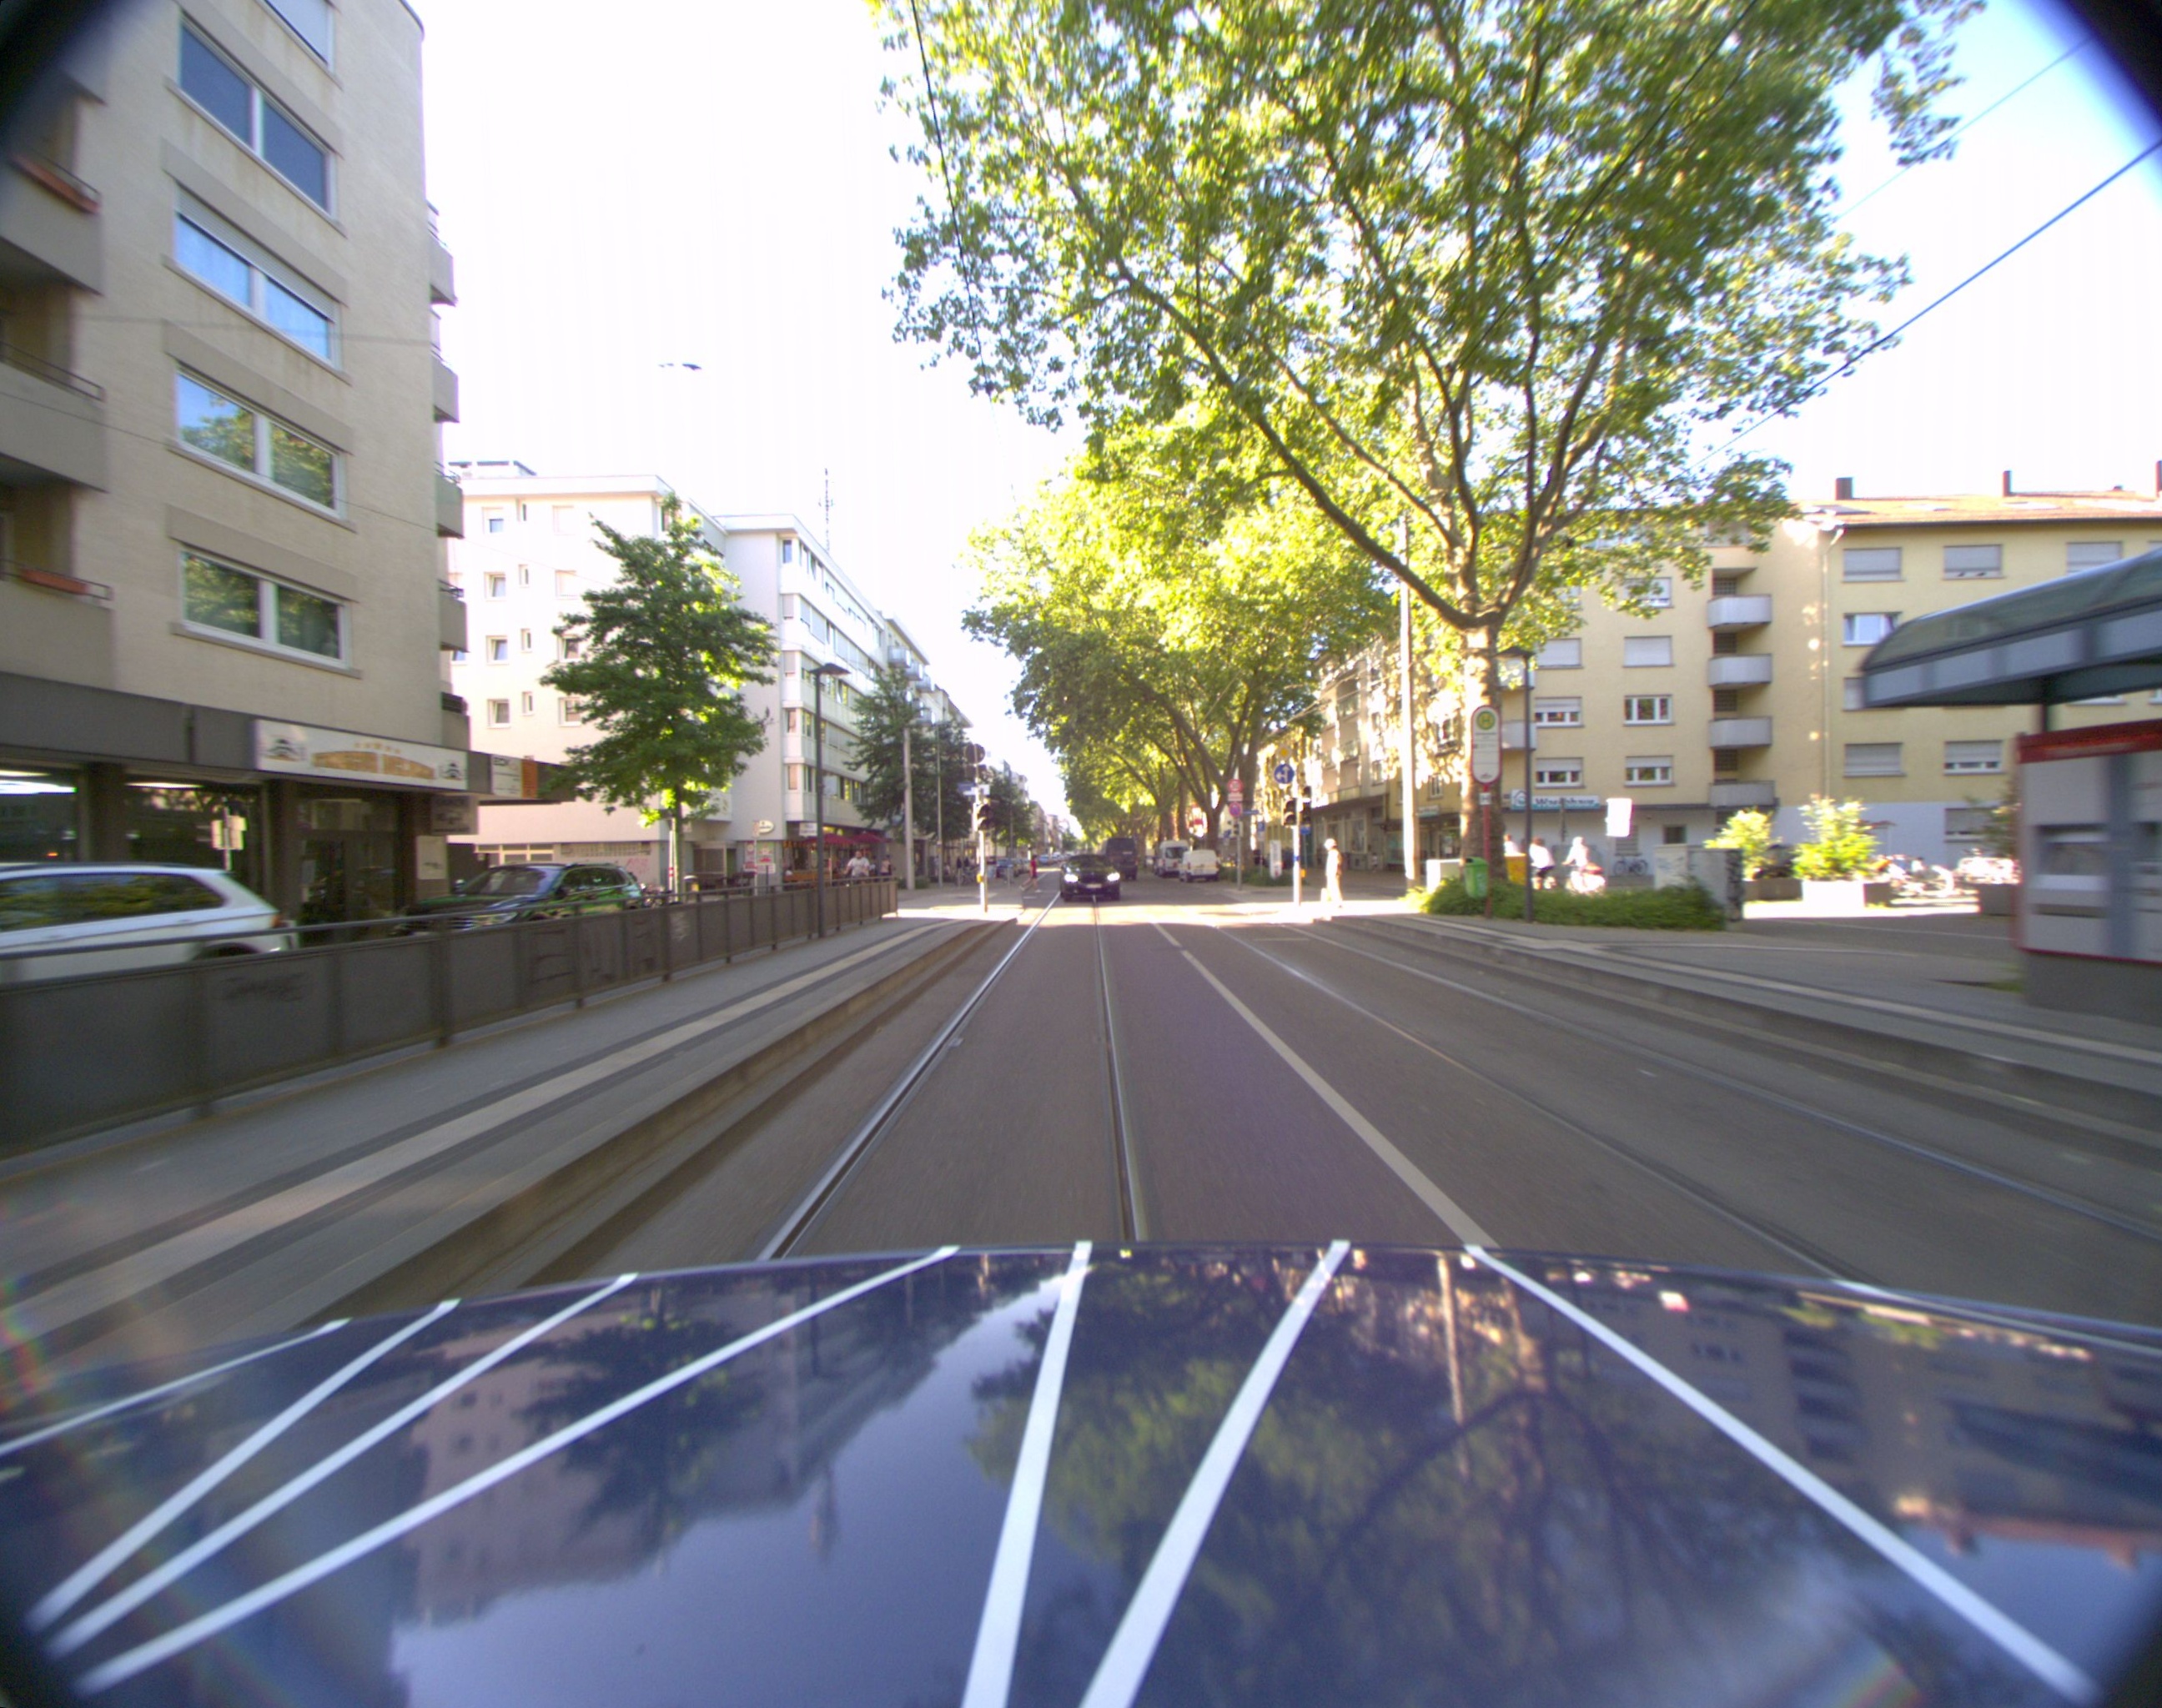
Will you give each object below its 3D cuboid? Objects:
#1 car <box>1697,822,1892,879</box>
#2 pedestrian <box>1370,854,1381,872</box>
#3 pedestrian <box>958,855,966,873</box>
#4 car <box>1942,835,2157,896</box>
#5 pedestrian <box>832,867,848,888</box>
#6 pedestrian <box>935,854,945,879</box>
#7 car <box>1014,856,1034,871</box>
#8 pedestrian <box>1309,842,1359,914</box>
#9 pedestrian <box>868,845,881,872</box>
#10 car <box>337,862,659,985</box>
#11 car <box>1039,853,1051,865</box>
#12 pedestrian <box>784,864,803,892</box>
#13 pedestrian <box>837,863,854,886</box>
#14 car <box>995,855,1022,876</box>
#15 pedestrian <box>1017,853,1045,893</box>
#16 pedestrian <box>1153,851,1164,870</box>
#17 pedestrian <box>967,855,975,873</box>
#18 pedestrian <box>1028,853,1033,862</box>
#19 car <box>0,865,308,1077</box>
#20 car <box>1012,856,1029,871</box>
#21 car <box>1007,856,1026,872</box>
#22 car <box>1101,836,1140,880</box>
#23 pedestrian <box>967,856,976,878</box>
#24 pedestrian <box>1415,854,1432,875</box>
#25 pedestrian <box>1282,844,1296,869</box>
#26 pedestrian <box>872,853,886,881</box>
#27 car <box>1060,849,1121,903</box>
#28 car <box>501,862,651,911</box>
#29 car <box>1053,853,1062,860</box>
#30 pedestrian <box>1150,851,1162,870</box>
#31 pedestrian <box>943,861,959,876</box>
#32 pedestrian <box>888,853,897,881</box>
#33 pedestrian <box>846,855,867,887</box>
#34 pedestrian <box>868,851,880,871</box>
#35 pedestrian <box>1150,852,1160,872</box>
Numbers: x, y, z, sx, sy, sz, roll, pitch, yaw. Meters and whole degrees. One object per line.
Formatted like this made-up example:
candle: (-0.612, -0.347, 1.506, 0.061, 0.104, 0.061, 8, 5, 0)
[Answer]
car: (21.449, -0.116, 22.968, 3.997, 1.499, 2.000, -2, 1, 0)
pedestrian: (18.082, 0.528, 46.614, 0.421, 1.099, 0.437, -2, 1, -9)
pedestrian: (-10.978, 0.925, 70.221, 0.597, 1.668, 0.934, 1, 1, -2)
car: (29.002, 0.319, 22.855, 3.997, 1.652, 1.960, -1, 1, 0)
pedestrian: (-12.407, 1.209, 39.092, 0.643, 1.072, 0.522, -2, 1, -1)
pedestrian: (-10.359, 0.893, 55.816, 0.592, 1.774, 0.994, -2, 1, -7)
car: (-6.018, 0.947, 81.126, 1.791, 1.528, 4.127, 1, 0, 0)
pedestrian: (6.659, 0.605, 20.010, 0.926, 1.825, 0.920, -2, 1, -3)
pedestrian: (-12.805, 0.275, 47.114, 0.508, 1.619, 0.517, -3, 1, -37)
car: (-9.554, 1.015, 13.074, 1.998, 1.606, 4.445, -2, 1, 1)
car: (-6.422, 0.921, 136.051, 1.958, 1.914, 4.000, -2, 1, 1)
pedestrian: (-13.714, 1.134, 36.267, 0.536, 1.280, 0.715, -2, 1, 2)
pedestrian: (-12.499, 1.092, 40.350, 0.660, 1.168, 0.522, -2, 1, -1)
car: (-5.852, 0.933, 61.904, 1.763, 1.578, 4.328, 2, 0, 0)
pedestrian: (-2.288, 0.853, 34.897, 1.048, 1.748, 0.877, -2, 1, -16)
pedestrian: (7.239, 0.608, 71.030, 0.768, 1.725, 0.718, -1, 1, 42)
pedestrian: (-10.165, 0.896, 70.259, 0.643, 1.628, 0.869, 1, 0, -1)
pedestrian: (-9.643, 0.746, 145.380, 0.697, 1.685, 0.678, -2, 1, 0)
car: (-9.387, 0.977, 6.067, 1.804, 1.596, 4.414, -2, 1, 1)
car: (-6.127, 0.953, 77.133, 1.448, 1.528, 2.881, 1, 0, 0)
car: (-6.220, 0.986, 73.297, 1.627, 1.473, 3.888, 1, 0, -2)
car: (2.546, 0.201, 50.384, 2.119, 2.722, 6.113, 0, 1, -1)
pedestrian: (-9.340, 1.099, 64.912, 0.663, 1.841, 0.539, -2, 1, -1)
pedestrian: (17.785, 0.556, 39.461, 0.580, 1.041, 0.711, -2, 1, -1)
pedestrian: (15.502, 0.179, 56.704, 0.746, 1.859, 0.863, -2, 1, -2)
pedestrian: (-13.128, 0.854, 49.364, 0.525, 1.795, 0.633, -1, 2, 44)
car: (0.350, 0.736, 27.870, 1.998, 1.723, 4.399, 2, 1, 1)
car: (-18.980, 1.207, 28.706, 4.259, 1.583, 1.966, -2, 2, 0)
car: (-5.363, 0.588, 176.703, 1.867, 1.499, 4.000, -2, 1, 1)
pedestrian: (6.993, 0.622, 70.510, 0.768, 1.725, 0.715, -1, 1, 42)
pedestrian: (-8.869, 0.982, 51.739, 1.001, 1.021, 0.661, -2, 1, -6)
pedestrian: (-12.517, 0.868, 50.538, 0.432, 1.786, 0.489, -2, 1, -1)
pedestrian: (-12.186, 0.919, 41.256, 0.812, 1.649, 0.680, -2, 1, 21)
pedestrian: (-12.865, 0.436, 47.198, 0.510, 1.269, 0.624, -3, 1, -37)
pedestrian: (6.782, 0.749, 69.551, 0.769, 1.767, 0.714, -2, 1, 10)
